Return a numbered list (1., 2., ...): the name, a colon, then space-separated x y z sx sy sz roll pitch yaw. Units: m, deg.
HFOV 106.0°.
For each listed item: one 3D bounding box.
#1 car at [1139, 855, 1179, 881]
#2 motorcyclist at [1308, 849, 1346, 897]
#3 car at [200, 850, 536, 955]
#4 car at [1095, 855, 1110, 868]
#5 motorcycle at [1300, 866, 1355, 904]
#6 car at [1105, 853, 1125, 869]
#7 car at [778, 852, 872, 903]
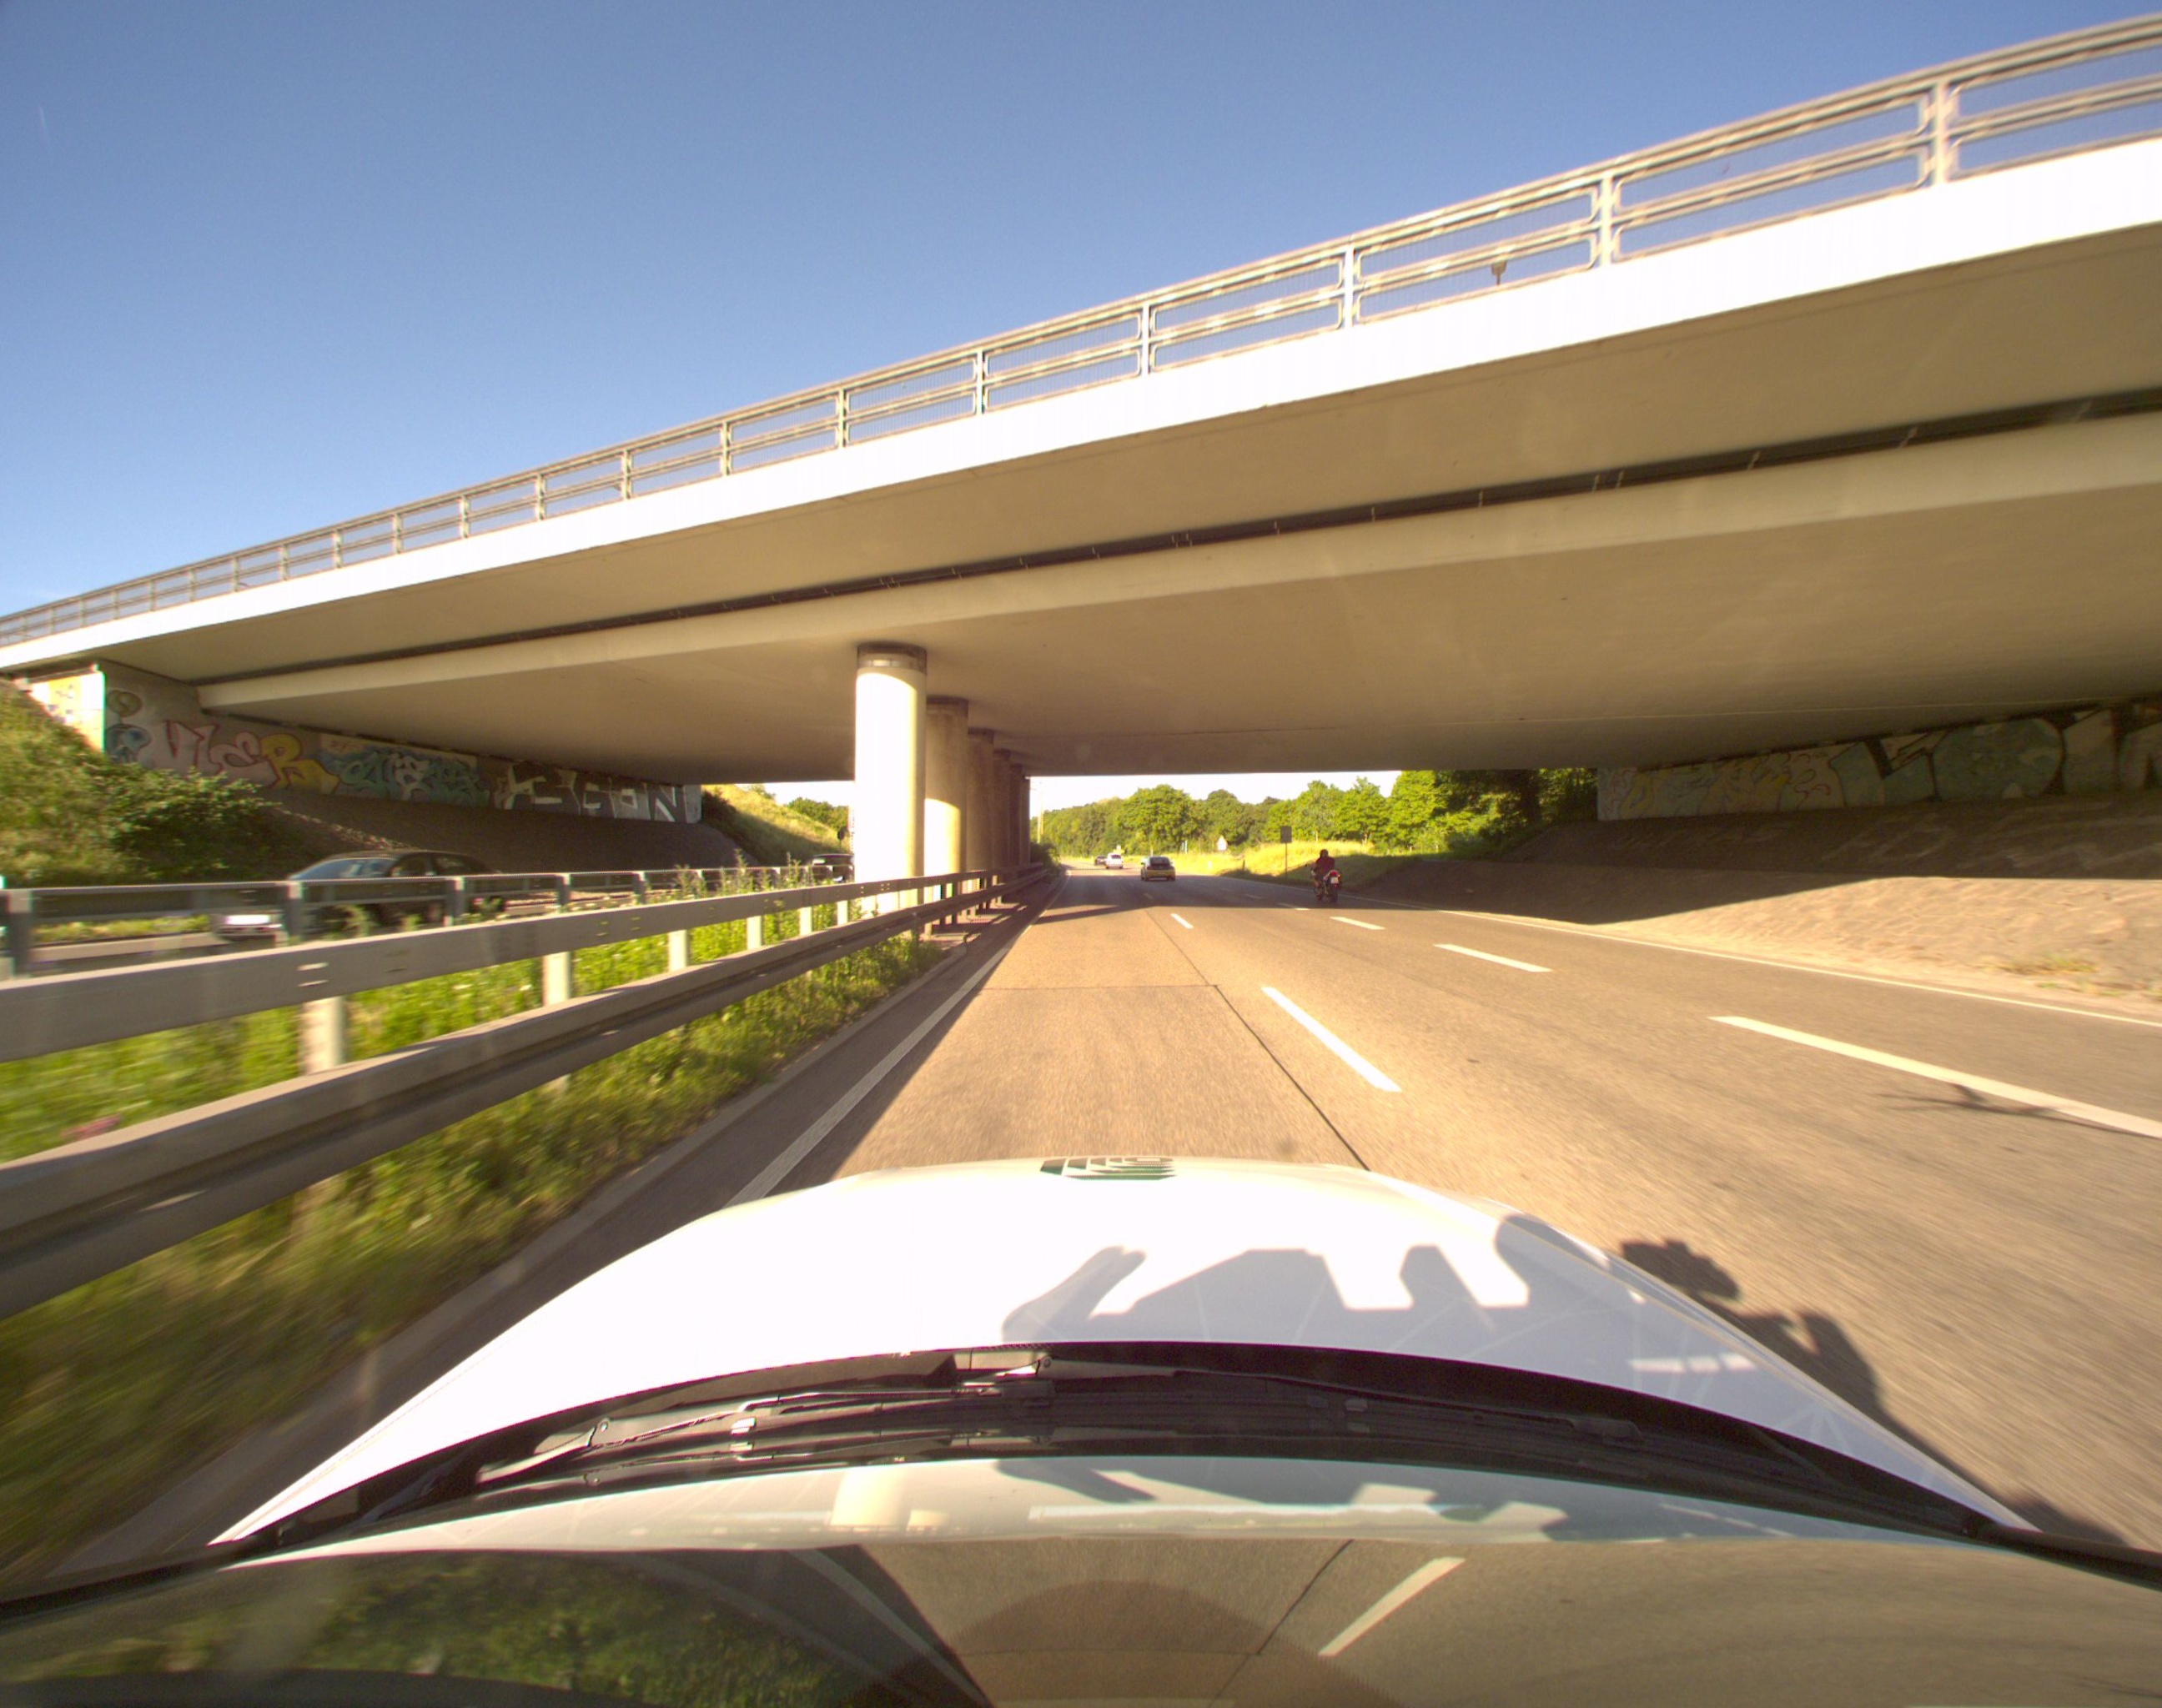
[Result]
1. car: 4.648 0.816 49.104 1.892 1.471 3.997 -1 0 -2
2. motorcyclist: 7.676 0.590 25.471 0.814 1.447 1.093 -1 -1 -1
3. car: -11.767 0.707 13.960 1.742 1.505 4.458 0 0 1
4. car: 3.086 1.064 118.219 1.892 1.767 3.997 -1 0 -2
5. motorcycle: 7.675 0.934 25.496 0.814 1.069 2.834 -1 0 -1
6. car: 3.810 0.788 92.527 1.892 1.767 3.997 -2 -1 -2
7. car: -8.238 0.720 26.588 1.743 1.505 4.223 0 0 -1
